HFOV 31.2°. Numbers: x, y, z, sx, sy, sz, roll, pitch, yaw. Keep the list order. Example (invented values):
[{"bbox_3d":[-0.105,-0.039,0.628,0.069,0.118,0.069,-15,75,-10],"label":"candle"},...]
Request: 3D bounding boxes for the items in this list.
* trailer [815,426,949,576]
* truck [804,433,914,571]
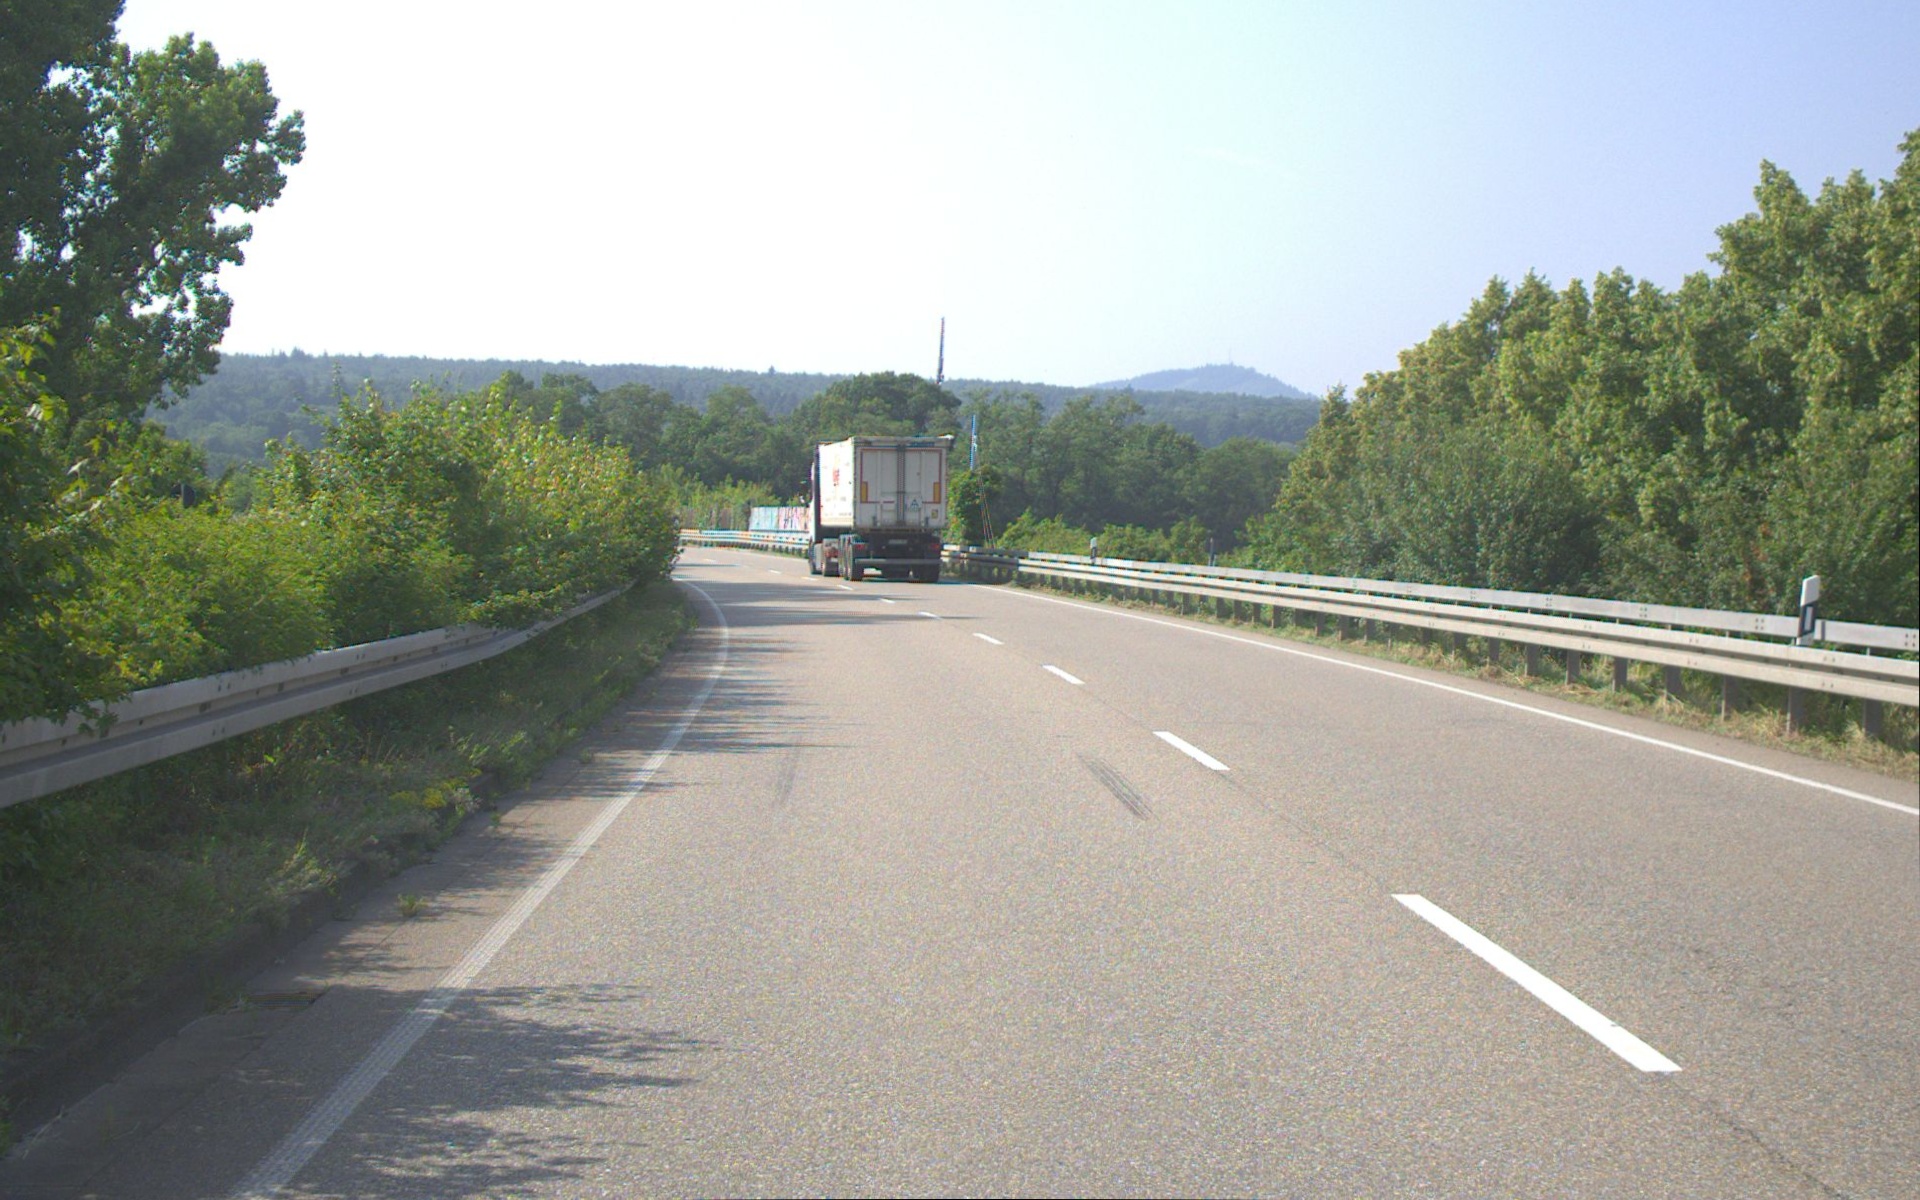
[{"bbox_3d":[-2.257,-2.727,95.245,2.679,3.893,9.675,1,1,-7],"label":"trailer"},{"bbox_3d":[-3.014,-2.892,101.161,2.658,3.882,5.649,1,2,-7],"label":"truck"}]
